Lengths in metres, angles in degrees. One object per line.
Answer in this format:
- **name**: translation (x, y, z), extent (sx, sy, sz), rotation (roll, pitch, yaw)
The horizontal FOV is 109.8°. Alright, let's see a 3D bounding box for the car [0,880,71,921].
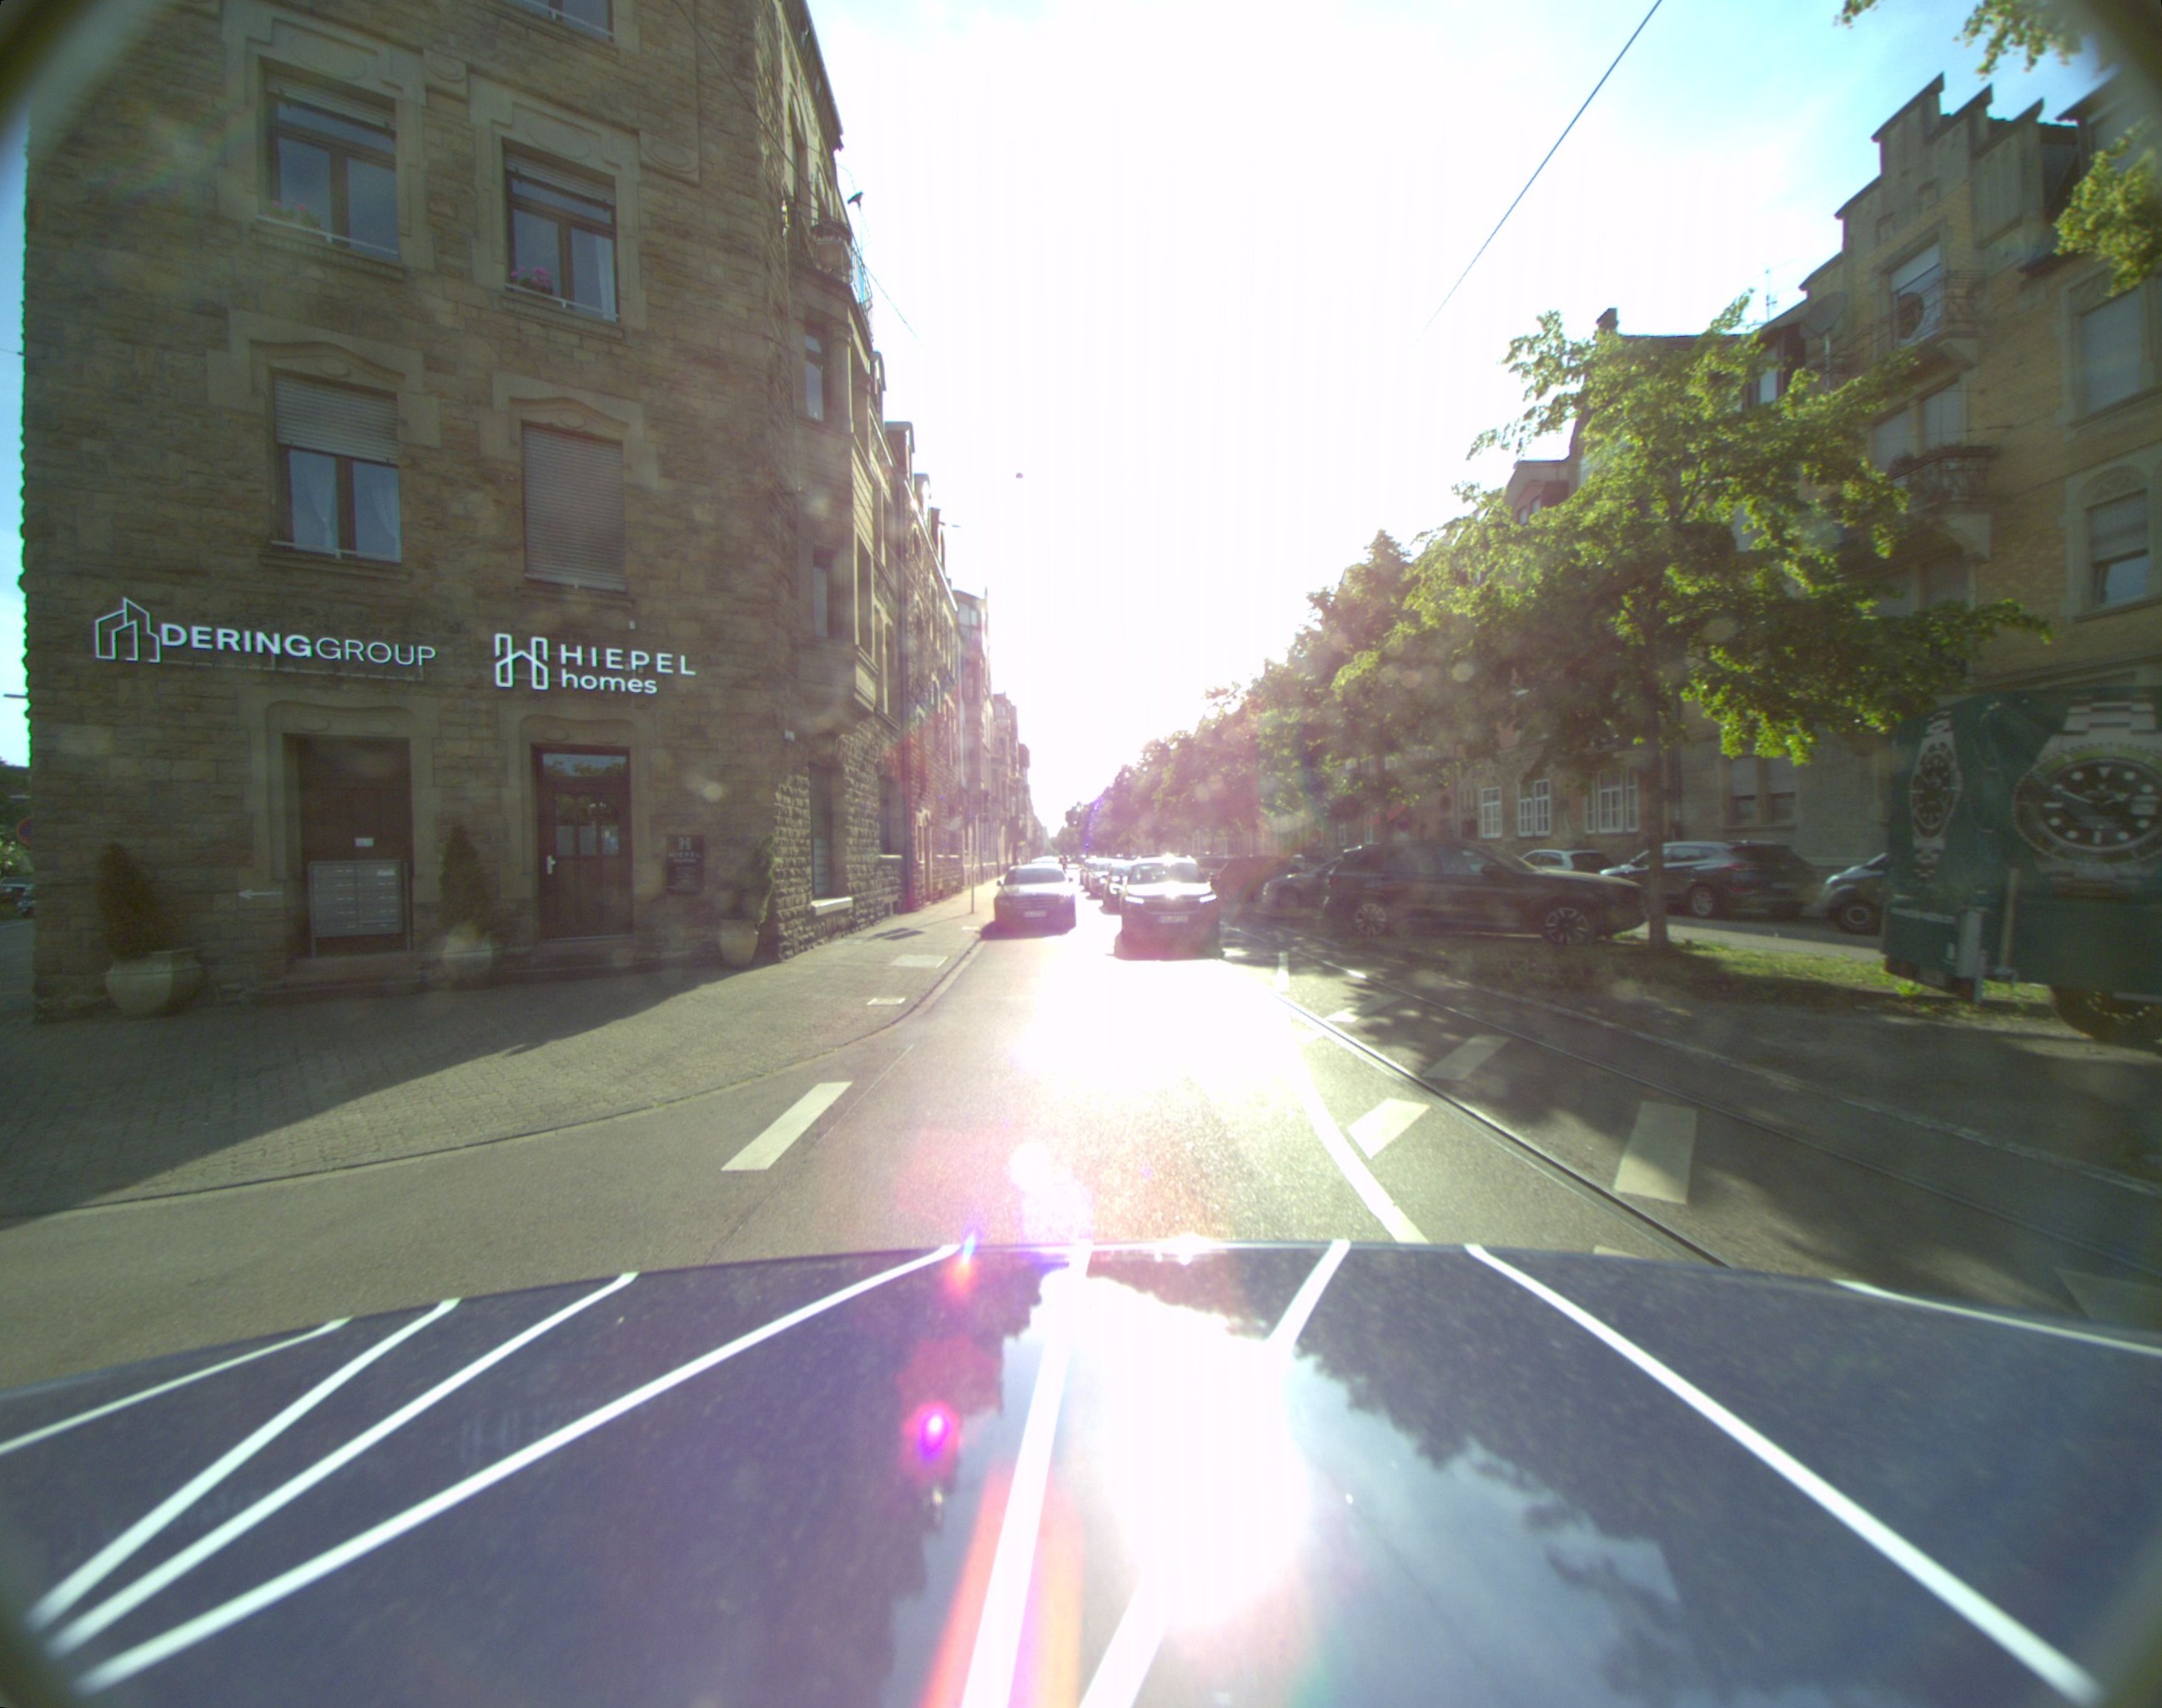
- **car**: translation (-47.055, 2.059, 32.561), extent (4.005, 1.641, 1.996), rotation (-2, 0, -26)

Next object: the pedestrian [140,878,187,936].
- **pedestrian**: translation (-27.578, 1.588, 22.852), extent (0.765, 1.665, 0.781), rotation (-3, 1, -43)

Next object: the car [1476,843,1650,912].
- **car**: translation (13.912, 0.628, 22.358), extent (2.170, 1.739, 4.610), rotation (-2, 0, 0)

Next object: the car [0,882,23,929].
- **car**: translation (-40.008, 1.905, 25.958), extent (4.005, 1.641, 1.996), rotation (-2, 0, -26)

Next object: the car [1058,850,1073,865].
- **car**: translation (-2.229, 0.490, 106.913), extent (1.999, 2.002, 3.999), rotation (-1, 0, -2)

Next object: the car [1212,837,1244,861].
- **car**: translation (13.413, -0.428, 69.360), extent (1.999, 2.002, 3.999), rotation (-2, 0, -1)

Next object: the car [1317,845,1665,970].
- **car**: translation (6.634, 0.742, 12.584), extent (4.704, 1.680, 2.176), rotation (-1, 0, 40)

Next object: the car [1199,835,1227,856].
- **car**: translation (13.398, -0.801, 77.128), extent (1.999, 2.002, 3.999), rotation (-2, 0, -1)

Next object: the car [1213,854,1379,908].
- **car**: translation (6.321, 0.800, 22.585), extent (4.294, 1.414, 1.963), rotation (-2, 0, 40)

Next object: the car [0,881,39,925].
- **car**: translation (-42.735, 1.928, 28.357), extent (4.005, 1.641, 1.996), rotation (-2, 0, -26)

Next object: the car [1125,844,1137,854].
- **car**: translation (10.044, -0.961, 153.461), extent (1.999, 2.002, 3.999), rotation (-2, 0, -2)

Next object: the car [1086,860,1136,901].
- **car**: translation (1.144, 1.021, 30.784), extent (1.840, 1.472, 4.000), rotation (-2, 0, 0)

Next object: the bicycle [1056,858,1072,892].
- **bicycle**: translation (-0.664, 0.828, 29.860), extent (0.575, 1.290, 0.688), rotation (-2, 0, -1)

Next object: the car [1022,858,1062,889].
- **car**: translation (-2.027, 0.991, 40.532), extent (1.840, 1.472, 4.000), rotation (-2, 0, 0)

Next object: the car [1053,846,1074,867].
- **car**: translation (-1.785, 0.228, 75.301), extent (1.999, 2.002, 3.999), rotation (-1, 0, -2)

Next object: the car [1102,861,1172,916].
- **car**: translation (1.642, 0.987, 23.515), extent (1.840, 1.472, 4.000), rotation (-2, 0, 0)

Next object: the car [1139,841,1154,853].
- **car**: translation (11.373, -1.188, 131.605), extent (1.999, 2.002, 3.999), rotation (-2, 0, -2)

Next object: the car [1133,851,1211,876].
- **car**: translation (5.605, 0.583, 46.883), extent (4.259, 1.414, 2.176), rotation (-1, 0, 40)

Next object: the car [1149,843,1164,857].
- **car**: translation (11.765, -0.624, 119.344), extent (1.998, 2.002, 4.000), rotation (-2, 0, 2)

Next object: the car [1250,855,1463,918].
- **car**: translation (6.704, 0.793, 18.695), extent (4.598, 1.373, 1.705), rotation (-2, 0, 33)

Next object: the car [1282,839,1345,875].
- **car**: translation (13.256, 0.163, 43.575), extent (2.170, 1.890, 4.610), rotation (-2, 0, 0)

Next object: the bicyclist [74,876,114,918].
- **bicyclist**: translation (-35.340, 1.521, 27.224), extent (0.745, 1.447, 0.652), rotation (-2, 0, -44)

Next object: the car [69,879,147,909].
- **car**: translation (-59.622, 2.401, 46.657), extent (2.004, 1.641, 3.990), rotation (-2, 0, -38)

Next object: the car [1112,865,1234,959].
- **car**: translation (1.612, 0.988, 14.566), extent (1.840, 1.472, 4.000), rotation (-1, 0, 0)

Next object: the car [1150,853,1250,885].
- **car**: translation (5.788, 0.735, 37.087), extent (4.260, 1.414, 2.176), rotation (-2, 0, 40)

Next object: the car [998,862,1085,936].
- **car**: translation (-0.967, 1.002, 18.596), extent (1.840, 1.494, 4.265), rotation (-2, 0, -3)

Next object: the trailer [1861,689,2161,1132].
- **trailer**: translation (6.902, 0.273, 4.439), extent (2.859, 2.378, 1.726), rotation (-2, 0, 30)

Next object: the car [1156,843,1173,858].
- **car**: translation (11.883, -0.500, 108.026), extent (1.998, 2.002, 4.000), rotation (-2, 0, 2)

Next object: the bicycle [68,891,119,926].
- **bicycle**: translation (-35.206, 1.909, 27.122), extent (0.696, 1.149, 2.473), rotation (-2, 0, -43)

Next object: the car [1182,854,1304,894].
- **car**: translation (6.227, 0.802, 29.445), extent (4.260, 1.414, 1.685), rotation (-2, 0, 40)

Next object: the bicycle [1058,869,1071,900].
- **bicycle**: translation (-0.656, 1.183, 29.873), extent (0.484, 1.183, 1.339), rotation (-2, 0, -2)

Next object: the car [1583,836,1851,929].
- **car**: translation (13.963, 0.570, 17.156), extent (2.170, 1.739, 4.610), rotation (-2, 0, 0)

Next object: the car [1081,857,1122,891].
- **car**: translation (0.958, 0.938, 36.838), extent (1.840, 1.472, 4.000), rotation (-2, 0, 0)

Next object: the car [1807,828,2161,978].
- **car**: translation (13.803, 0.557, 10.945), extent (2.170, 1.739, 4.718), rotation (-2, 0, 0)
